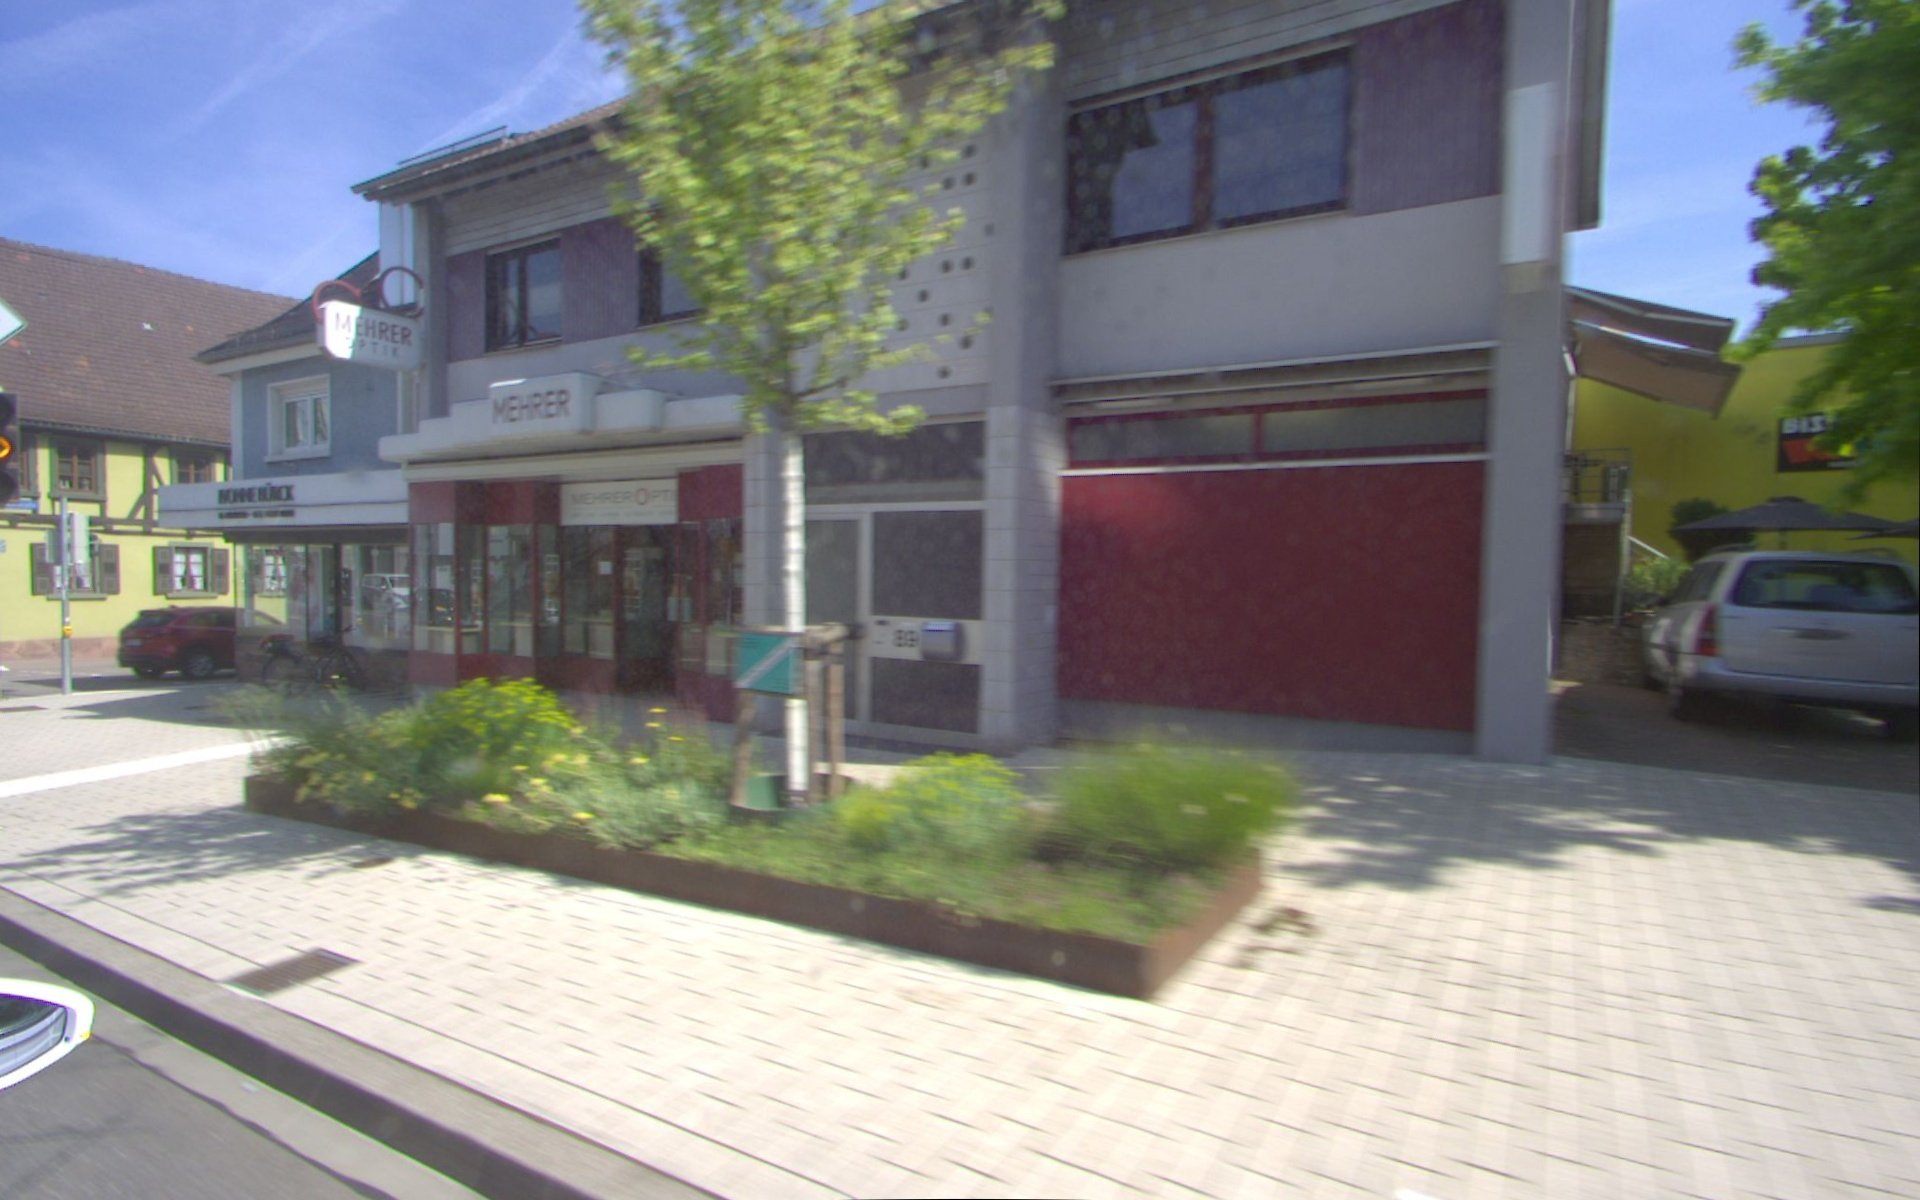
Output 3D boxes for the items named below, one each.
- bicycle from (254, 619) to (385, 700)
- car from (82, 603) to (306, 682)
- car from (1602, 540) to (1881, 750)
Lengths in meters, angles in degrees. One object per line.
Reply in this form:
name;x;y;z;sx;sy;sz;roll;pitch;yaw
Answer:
bicycle;-10.752;0.964;16.874;0.542;1.251;1.799;1;1;33
car;-17.740;0.923;23.411;1.779;1.685;3.804;0;0;20
car;7.005;0.346;9.309;1.700;1.530;3.689;0;0;33
